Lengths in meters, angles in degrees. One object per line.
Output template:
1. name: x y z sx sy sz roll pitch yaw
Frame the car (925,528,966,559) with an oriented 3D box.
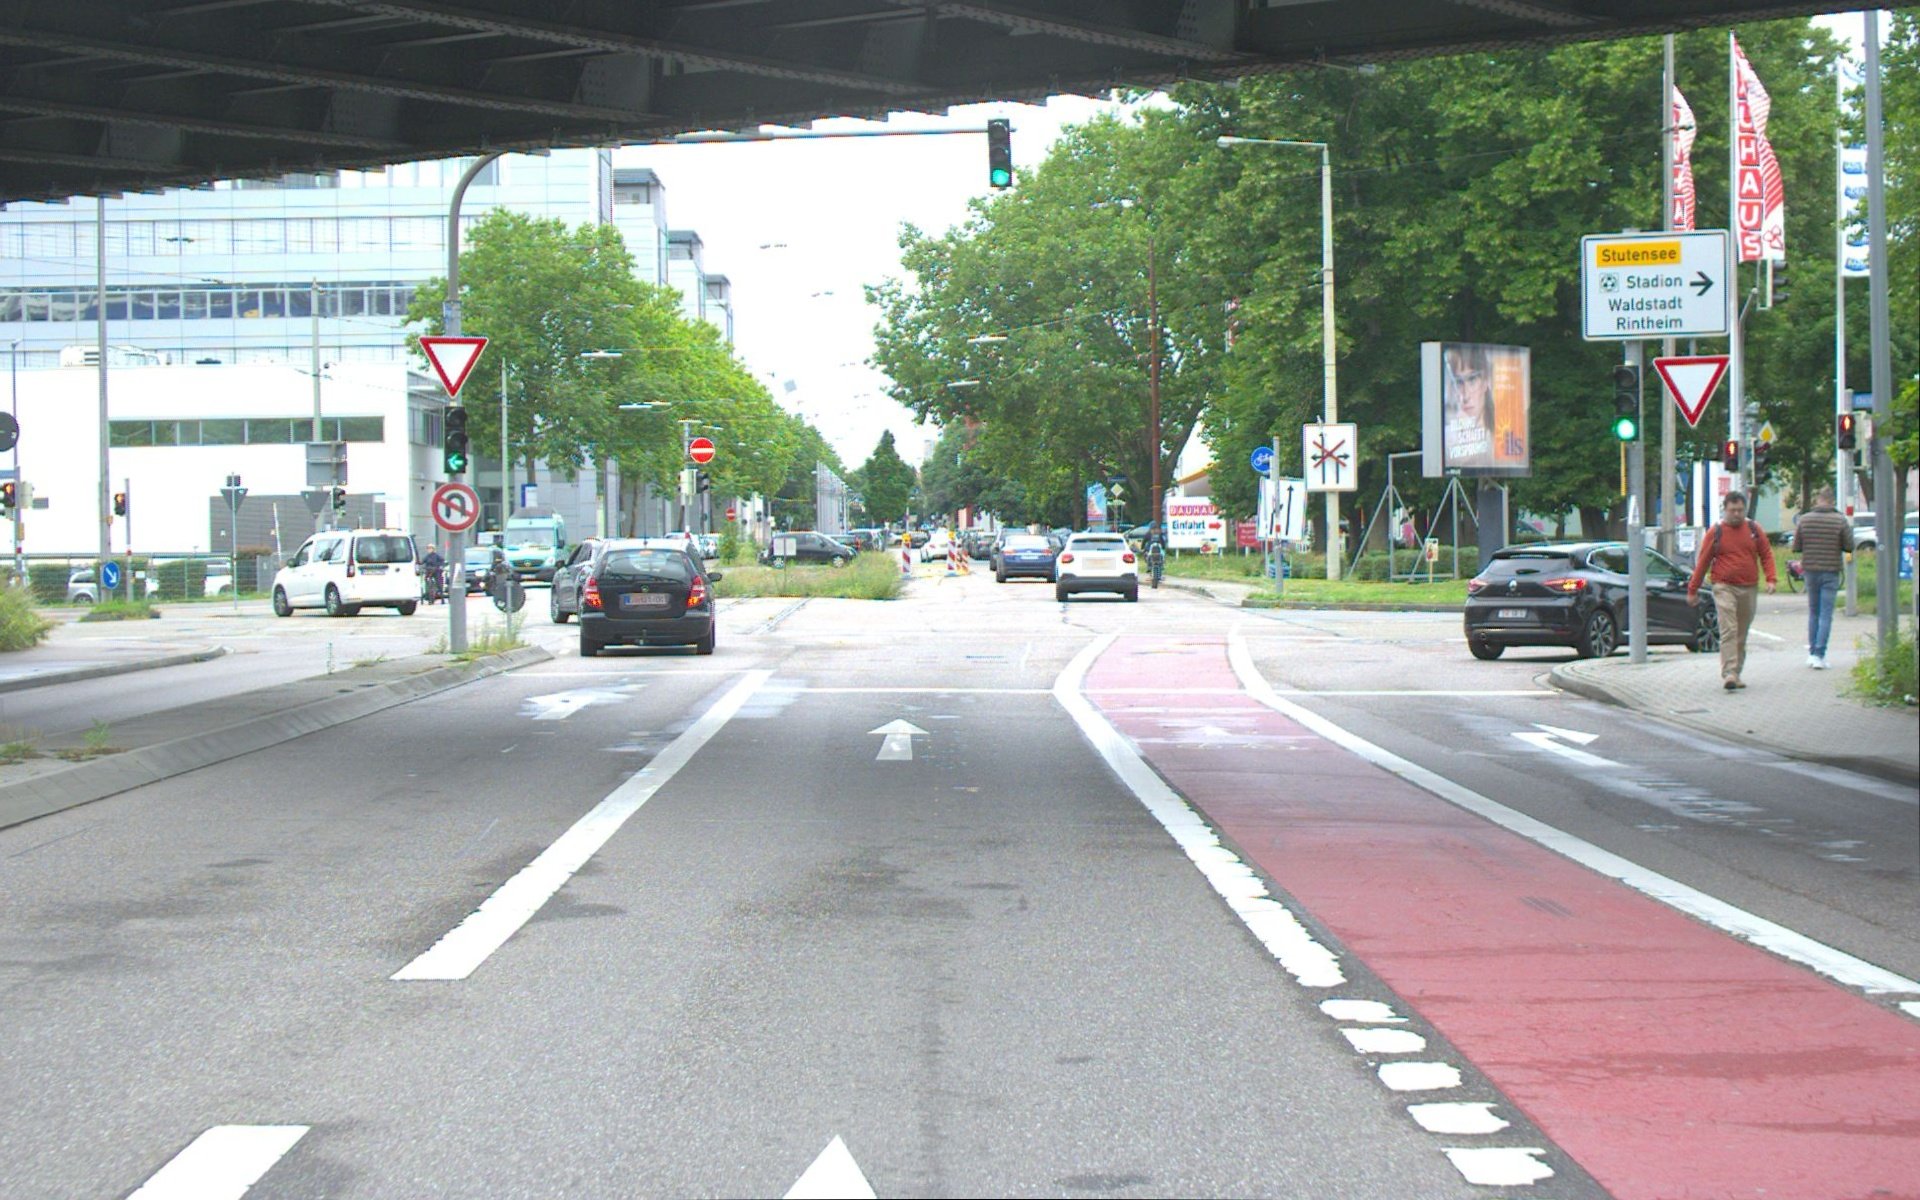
1. car: -0.734 -2.796 170.160 1.795 1.508 3.706 0 2 -4

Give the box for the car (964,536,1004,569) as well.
1. car: 1.254 -2.486 179.630 1.877 1.627 4.001 -2 1 -2

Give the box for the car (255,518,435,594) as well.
1. car: -13.111 -0.965 73.060 1.962 1.522 5.010 -1 2 -33

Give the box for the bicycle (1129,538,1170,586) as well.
1. bicycle: 4.849 -0.984 88.076 0.816 1.208 2.683 -1 1 -1

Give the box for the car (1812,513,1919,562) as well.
1. car: 29.470 -1.955 108.290 4.674 1.492 2.171 1 1 -2

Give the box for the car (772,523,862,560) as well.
1. car: -6.251 -2.554 150.726 3.883 1.550 1.825 1 1 -1

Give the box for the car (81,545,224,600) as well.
1. car: -23.674 -0.820 100.803 3.660 1.522 1.773 -1 1 18

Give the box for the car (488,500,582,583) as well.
1. car: -14.927 -2.070 121.072 2.328 2.816 5.949 -1 1 2

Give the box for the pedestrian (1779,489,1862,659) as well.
1. pedestrian: 8.389 -0.254 33.507 0.742 1.634 0.778 0 1 17

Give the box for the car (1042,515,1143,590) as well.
1. car: 2.914 -1.076 76.350 1.823 1.595 3.776 0 2 -4

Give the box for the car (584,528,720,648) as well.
1. car: -4.159 -0.194 46.854 1.768 1.522 3.670 0 2 -4

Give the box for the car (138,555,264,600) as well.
1. car: -29.623 -0.890 134.305 4.526 1.628 1.913 -1 1 -3

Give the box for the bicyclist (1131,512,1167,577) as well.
1. bicyclist: 4.837 -1.420 88.065 0.816 1.624 1.235 -1 1 -1

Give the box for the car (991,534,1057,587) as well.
1. car: 1.912 -1.210 103.844 1.684 1.508 3.706 0 2 -4

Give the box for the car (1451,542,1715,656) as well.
1. car: 7.525 -0.041 41.371 1.651 1.276 3.412 2 2 40

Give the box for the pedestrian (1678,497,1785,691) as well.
1. pedestrian: 7.071 -0.060 31.540 0.872 1.753 0.787 -1 1 7

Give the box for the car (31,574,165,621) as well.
1. car: -30.439 -0.099 121.482 4.211 1.527 1.913 -1 1 1
